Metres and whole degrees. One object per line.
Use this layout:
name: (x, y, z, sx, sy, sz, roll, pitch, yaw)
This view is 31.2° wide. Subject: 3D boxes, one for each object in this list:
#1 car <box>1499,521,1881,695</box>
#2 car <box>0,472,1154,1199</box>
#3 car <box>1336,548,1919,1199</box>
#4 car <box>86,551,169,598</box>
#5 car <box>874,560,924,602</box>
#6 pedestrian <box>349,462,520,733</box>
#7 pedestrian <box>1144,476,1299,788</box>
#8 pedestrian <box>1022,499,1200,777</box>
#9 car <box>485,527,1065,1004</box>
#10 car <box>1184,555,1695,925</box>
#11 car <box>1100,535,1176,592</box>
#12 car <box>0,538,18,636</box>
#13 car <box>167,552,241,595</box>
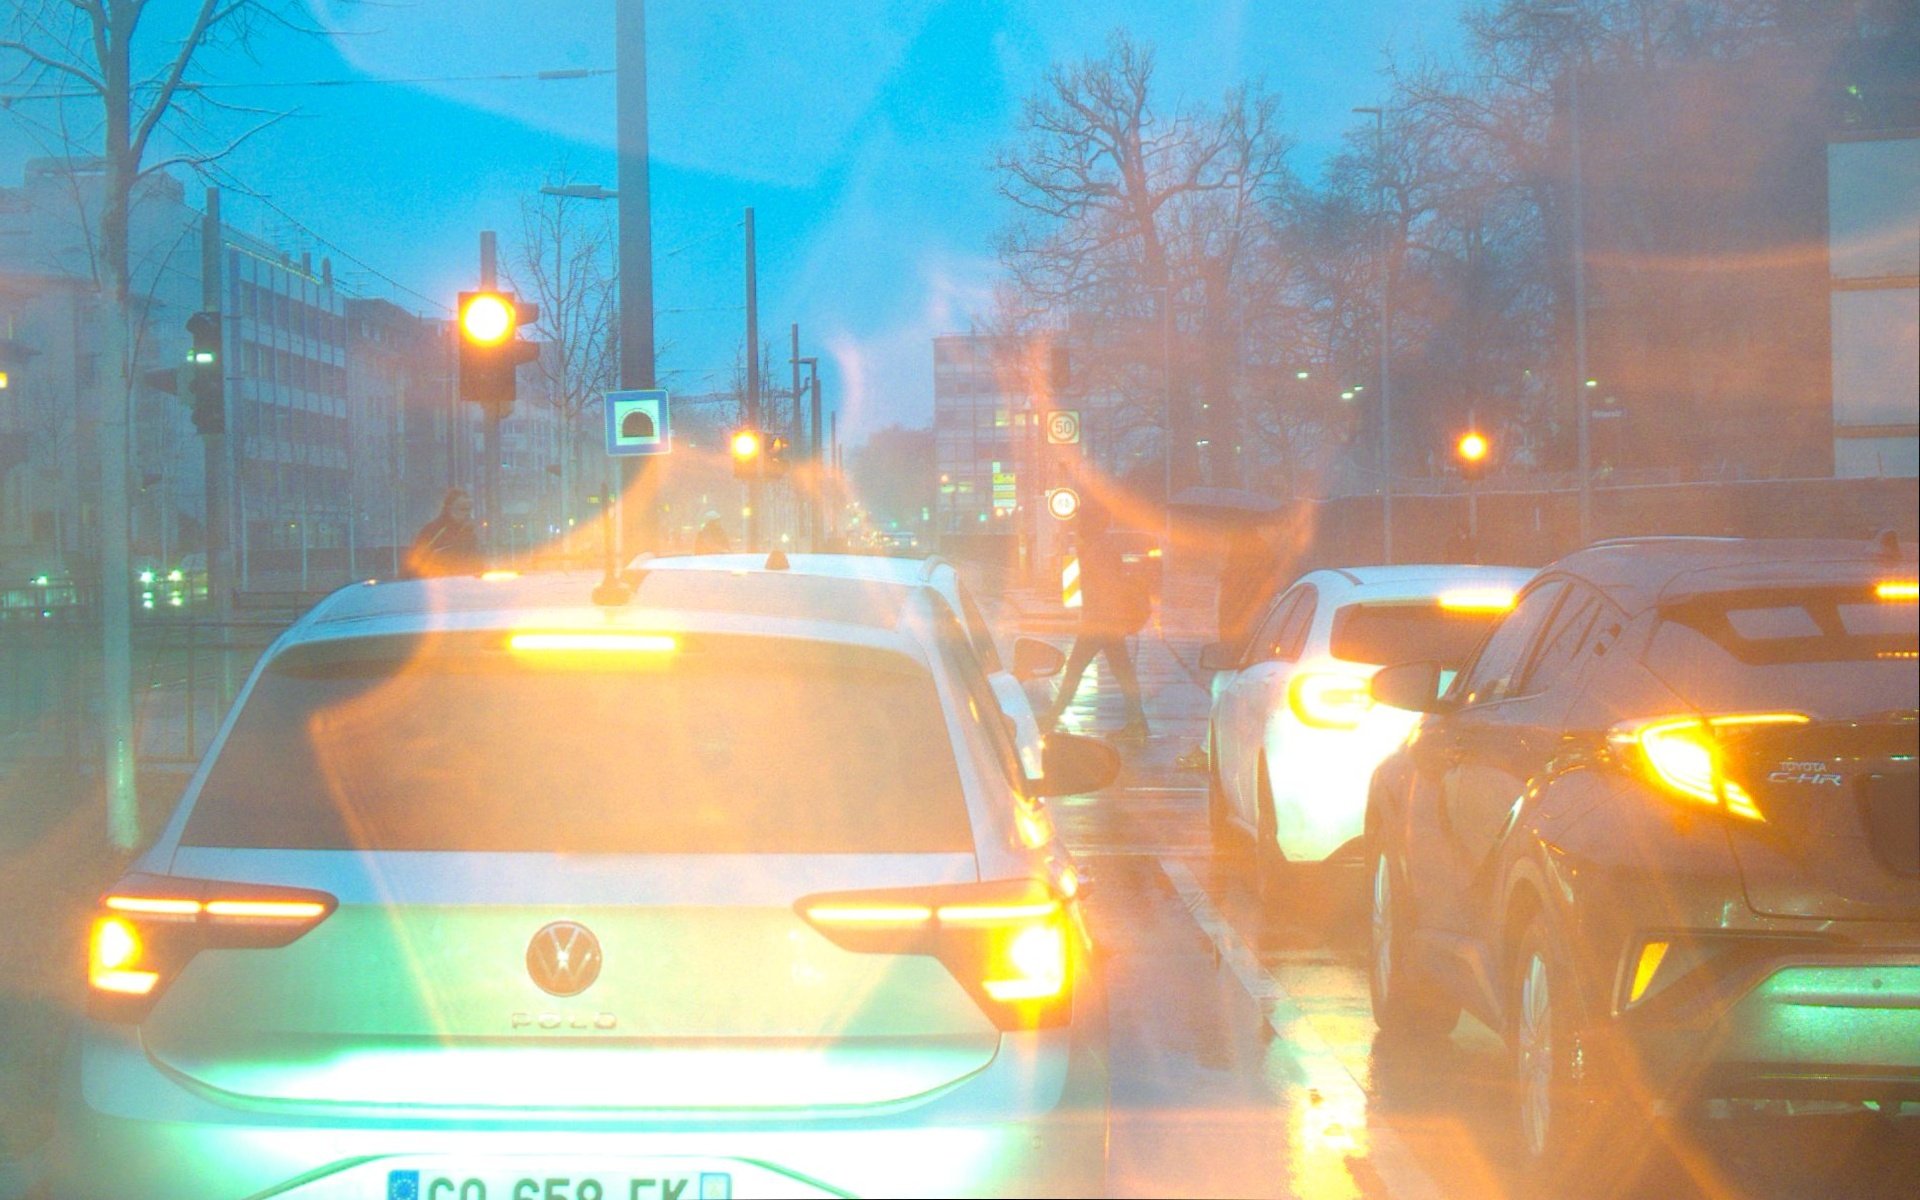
car: (8.728, 0.068, 41.002, 4.275, 1.937, 1.998, 1, 1, 17)
car: (-0.686, 0.539, 6.913, 1.693, 1.528, 4.001, 0, 1, -3)
car: (2.103, 0.633, 8.898, 1.800, 1.505, 3.895, -1, 1, 0)
car: (-29.198, -0.920, 120.711, 1.950, 1.597, 4.000, 1, 1, 0)
car: (-2.215, -0.700, 125.667, 1.737, 1.415, 4.394, -1, 1, 0)
pedestrian: (-4.011, -0.034, 26.219, 1.004, 2.007, 0.962, -2, 1, -26)
pedestrian: (1.720, 0.196, 22.735, 0.959, 2.007, 1.007, -1, 1, 3)
pedestrian: (1.116, 0.265, 25.617, 0.958, 2.007, 1.008, -1, 1, -23)
car: (-0.597, 0.473, 13.128, 1.799, 1.461, 4.586, -1, 1, 0)
car: (2.014, 0.527, 15.437, 1.745, 1.428, 3.731, 1, 1, 0)
car: (4.589, -0.961, 88.910, 1.737, 1.415, 3.703, -1, 1, 0)
car: (-16.671, -0.215, 55.303, 1.993, 1.597, 4.000, 1, 1, -1)
car: (-29.074, -1.047, 132.300, 1.950, 1.597, 4.000, 1, 1, 0)
